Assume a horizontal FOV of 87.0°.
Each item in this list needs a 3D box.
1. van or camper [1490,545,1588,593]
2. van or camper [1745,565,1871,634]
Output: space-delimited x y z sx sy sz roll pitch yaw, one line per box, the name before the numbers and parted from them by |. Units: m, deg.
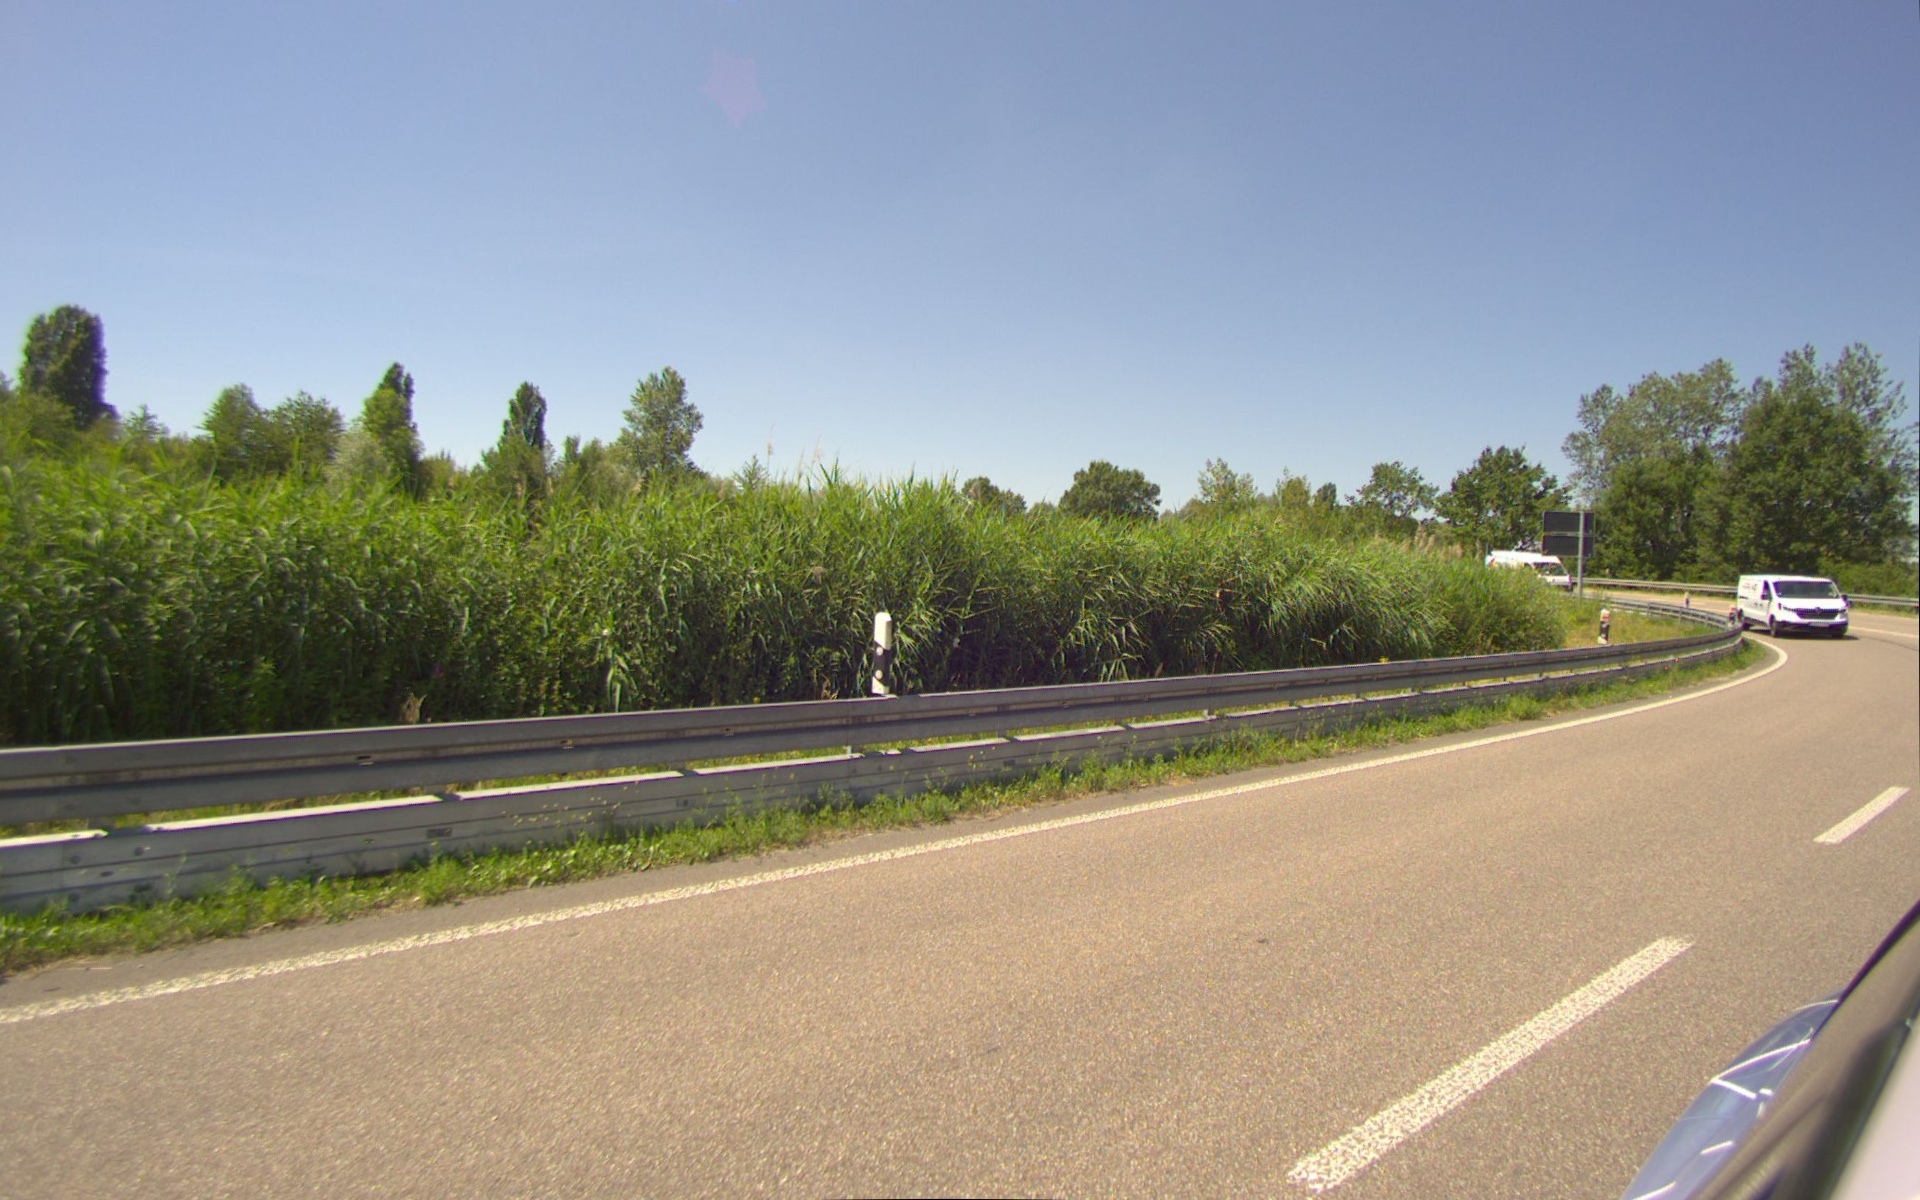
van or camper | 33.214 -1.846 58.291 2.035 2.585 6.052 -2 3 -1
van or camper | 28.533 -0.115 34.259 1.990 2.056 5.401 1 3 26
